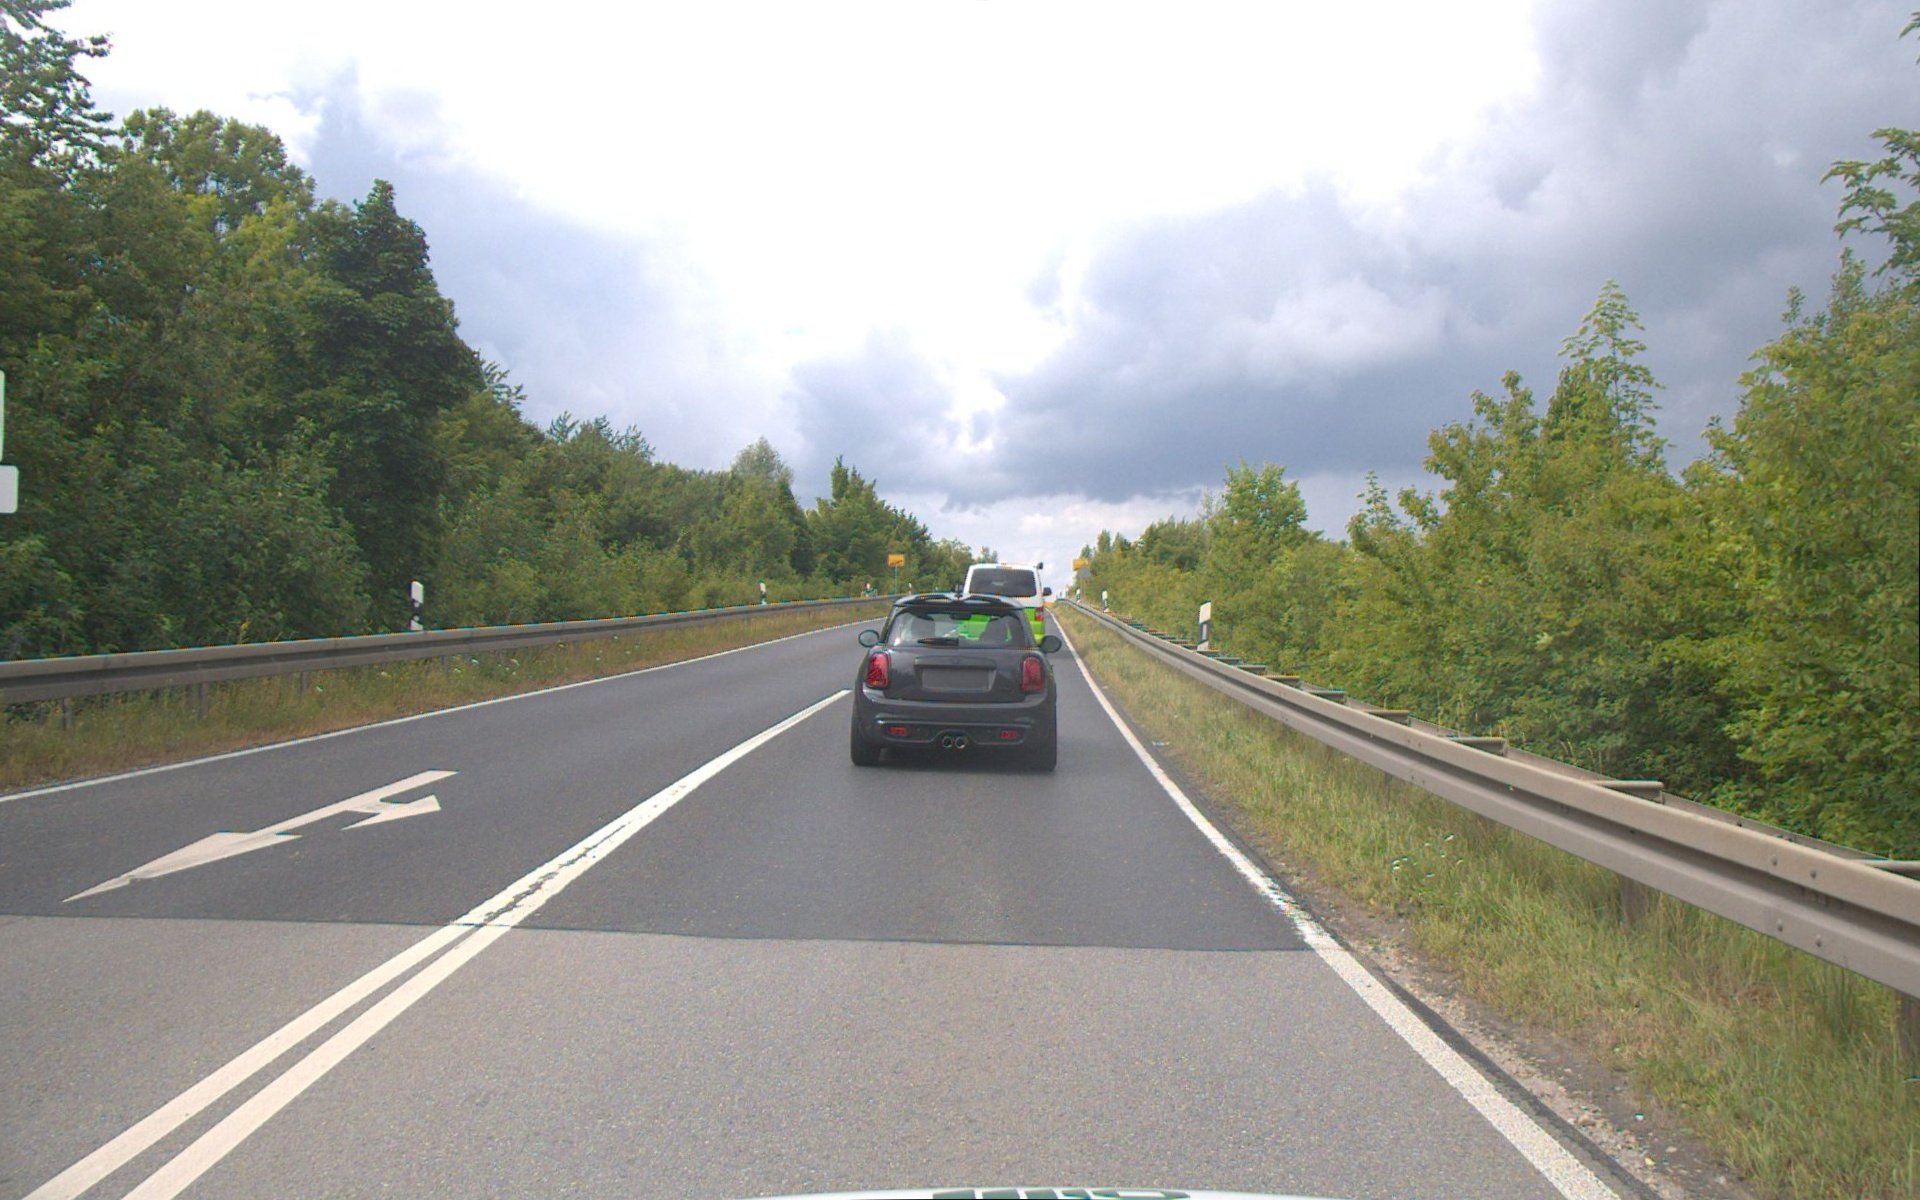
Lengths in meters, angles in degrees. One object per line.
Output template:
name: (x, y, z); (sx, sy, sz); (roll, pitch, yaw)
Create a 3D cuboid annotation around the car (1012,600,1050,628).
car: (3.398, 0.685, 78.477); (1.658, 1.243, 4.002); (-1, -1, 5)

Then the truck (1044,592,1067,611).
truck: (13.408, 0.164, 232.045); (2.848, 2.413, 10.458); (-1, 0, 5)

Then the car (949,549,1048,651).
car: (0.902, -0.015, 36.337); (1.980, 2.048, 4.002); (2, 0, 3)

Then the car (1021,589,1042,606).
car: (5.969, -0.219, 137.980); (1.659, 1.342, 4.002); (0, 1, 4)

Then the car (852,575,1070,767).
car: (-0.059, 0.540, 15.083); (1.697, 1.481, 3.999); (1, 1, -2)
